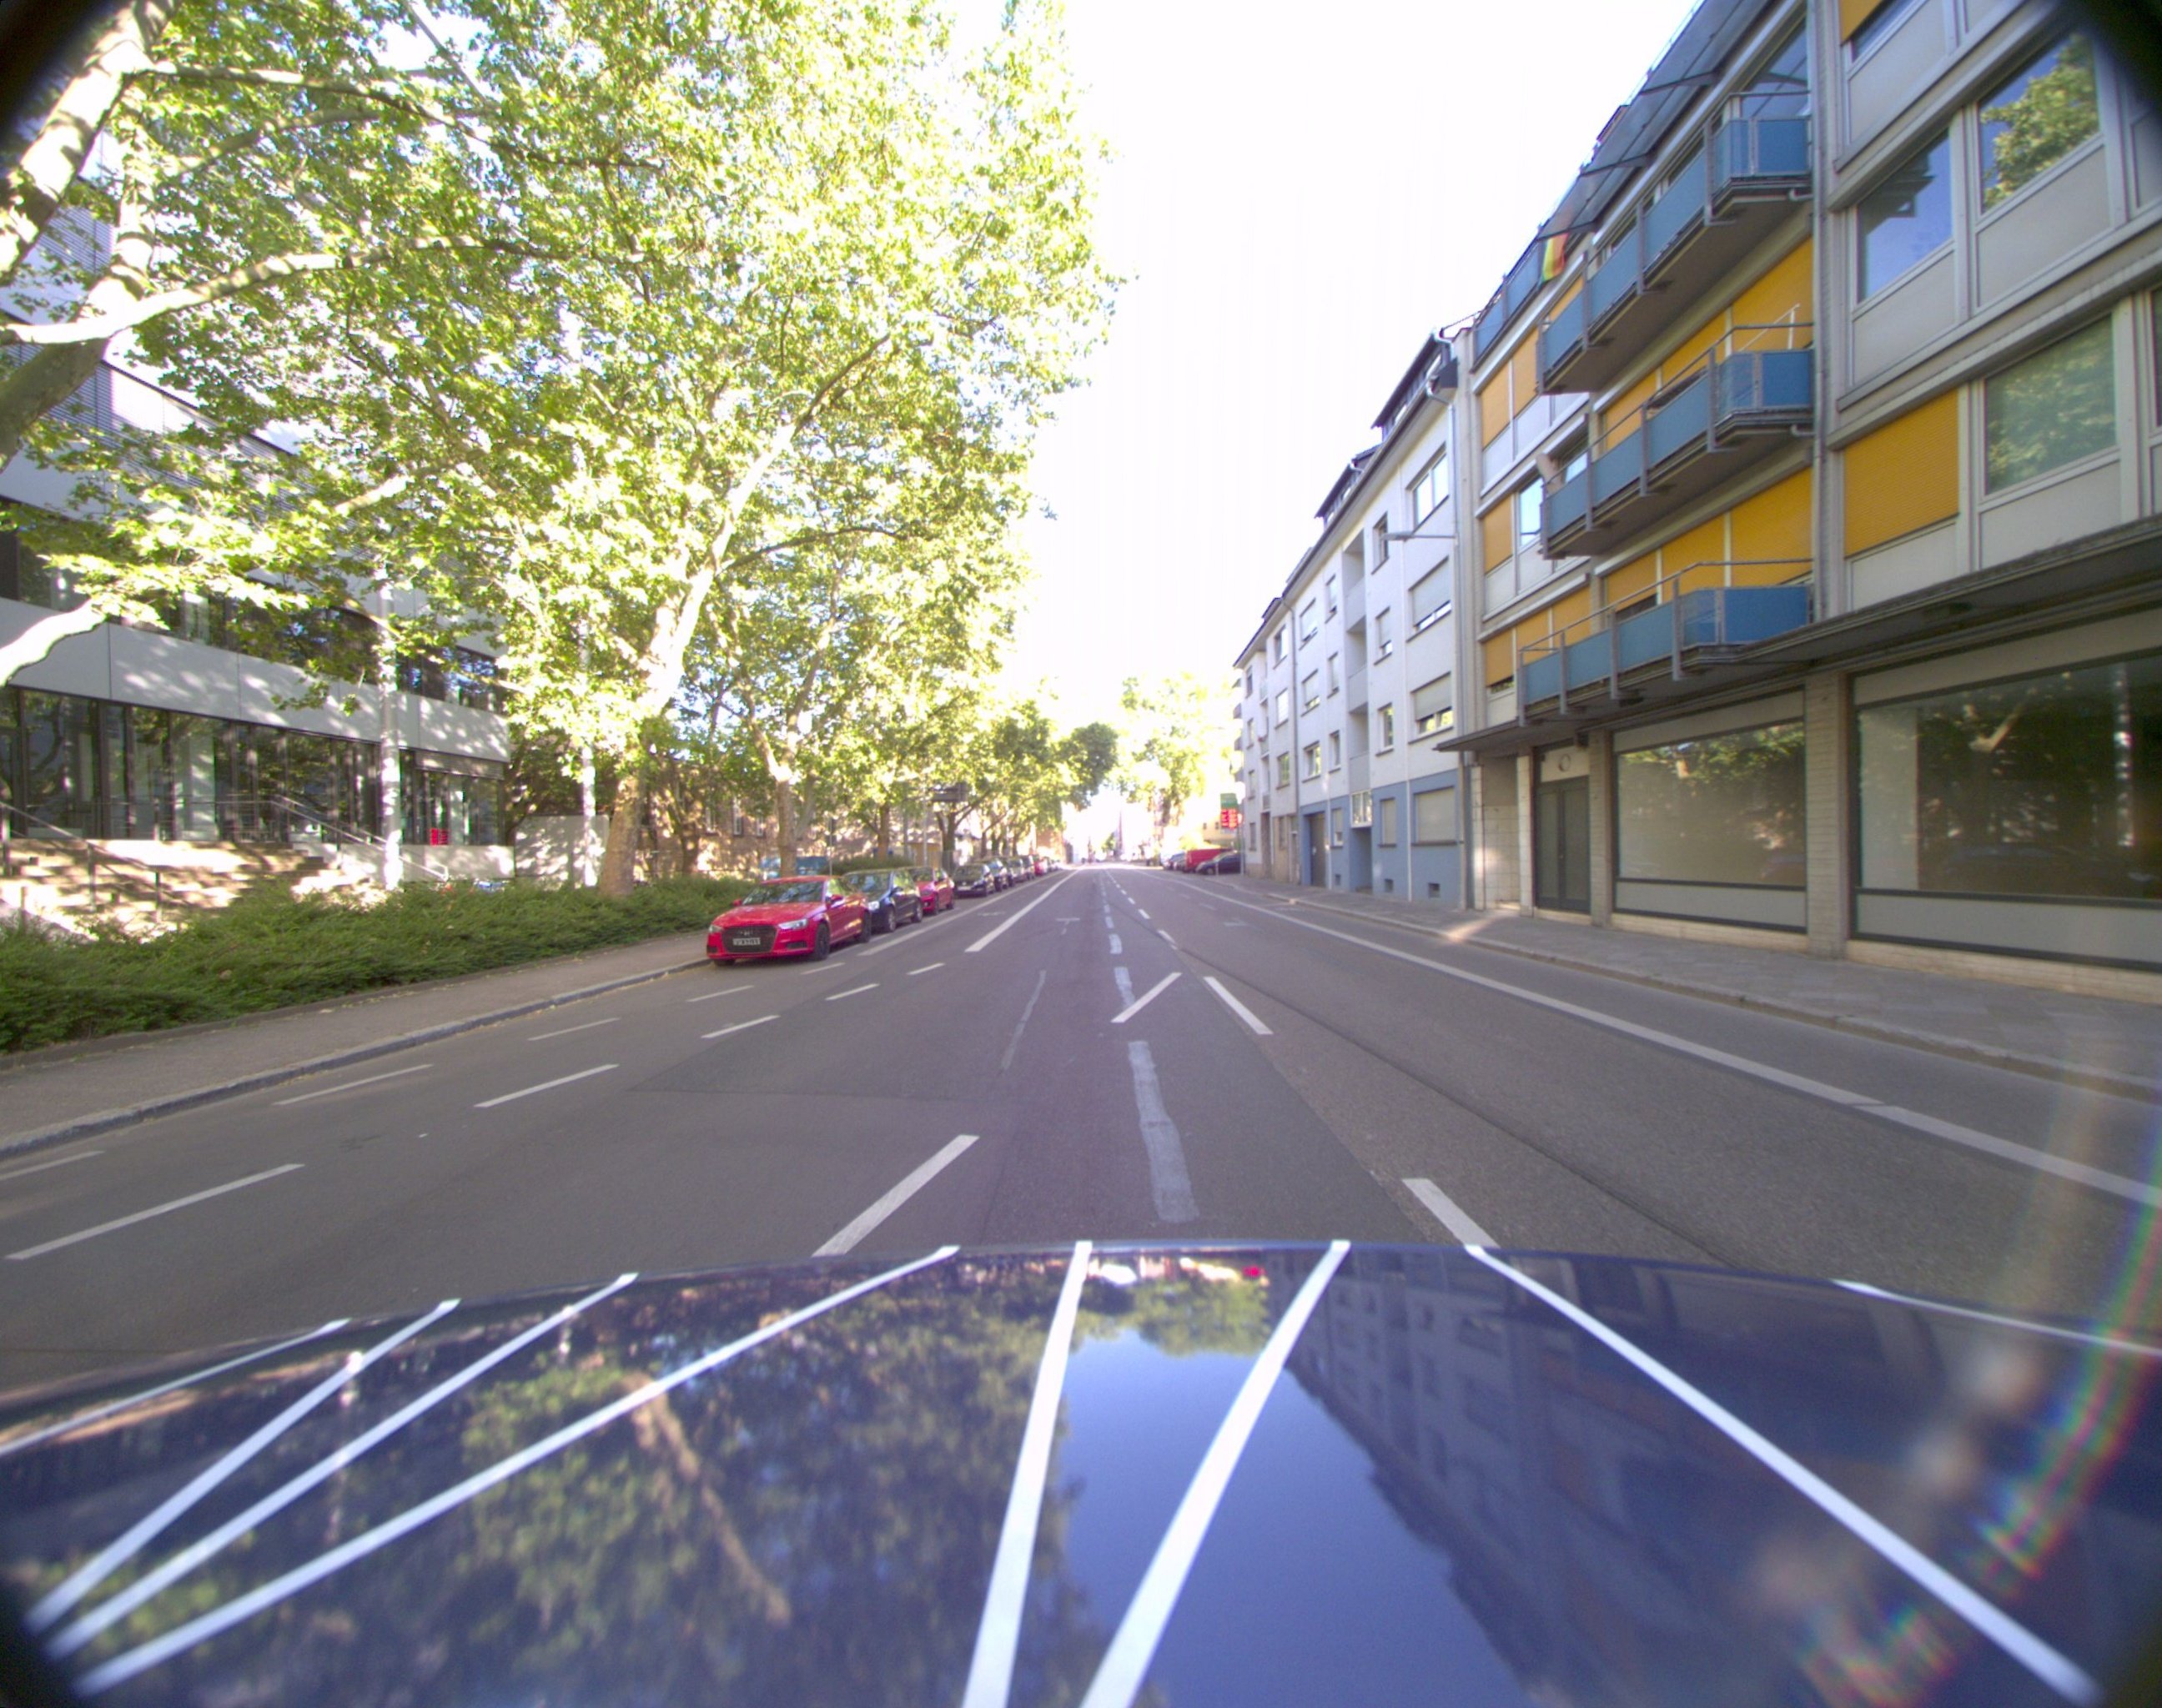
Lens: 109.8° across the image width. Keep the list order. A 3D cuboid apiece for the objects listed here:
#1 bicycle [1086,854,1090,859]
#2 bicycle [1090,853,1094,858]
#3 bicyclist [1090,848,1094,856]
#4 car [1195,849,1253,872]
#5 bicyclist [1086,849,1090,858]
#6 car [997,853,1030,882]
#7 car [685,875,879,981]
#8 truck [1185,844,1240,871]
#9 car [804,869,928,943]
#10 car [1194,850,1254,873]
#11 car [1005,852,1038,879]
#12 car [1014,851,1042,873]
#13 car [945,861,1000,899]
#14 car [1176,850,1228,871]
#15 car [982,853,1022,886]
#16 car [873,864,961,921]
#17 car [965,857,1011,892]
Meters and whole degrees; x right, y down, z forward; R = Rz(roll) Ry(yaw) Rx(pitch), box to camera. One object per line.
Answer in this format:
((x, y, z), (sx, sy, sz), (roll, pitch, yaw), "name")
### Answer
((1.445, 0.460, 151.852), (0.717, 1.052, 2.485), (-2, 1, 4), "bicycle")
((2.211, 0.324, 152.692), (0.717, 1.052, 2.485), (-2, 1, 4), "bicycle")
((2.179, -0.422, 152.585), (0.718, 1.573, 0.936), (-2, 1, 4), "bicyclist")
((10.725, 0.481, 57.155), (3.996, 1.494, 1.761), (-2, 1, 2), "car")
((1.431, -0.096, 151.794), (0.718, 1.573, 0.936), (-2, 1, 3), "bicyclist")
((-4.448, 0.855, 50.716), (1.790, 1.745, 4.552), (-3, 0, 0), "car")
((-5.139, 1.195, 13.732), (1.818, 1.405, 4.163), (-3, 0, 0), "car")
((10.365, 0.247, 60.004), (3.996, 1.925, 1.761), (-2, 1, 2), "truck")
((-5.084, 1.172, 18.588), (1.818, 1.405, 4.163), (-3, 0, 0), "car")
((10.251, 0.548, 54.808), (3.996, 1.449, 1.761), (-2, 1, 2), "car")
((-4.320, 0.799, 55.674), (2.042, 1.745, 4.552), (-3, 0, 0), "car")
((-4.594, 0.702, 66.105), (2.042, 1.745, 4.552), (-3, 0, 0), "car")
((-4.704, 1.080, 33.398), (1.790, 1.451, 4.163), (-3, 0, 0), "car")
((9.975, 0.528, 62.857), (3.996, 1.494, 1.761), (-2, 1, 2), "car")
((-4.526, 0.871, 44.161), (1.790, 1.745, 4.345), (-3, 0, 0), "car")
((-5.031, 1.126, 23.871), (1.818, 1.475, 4.163), (-3, 0, 0), "car")
((-4.603, 0.980, 38.144), (1.790, 1.544, 4.163), (-3, 0, 0), "car")
